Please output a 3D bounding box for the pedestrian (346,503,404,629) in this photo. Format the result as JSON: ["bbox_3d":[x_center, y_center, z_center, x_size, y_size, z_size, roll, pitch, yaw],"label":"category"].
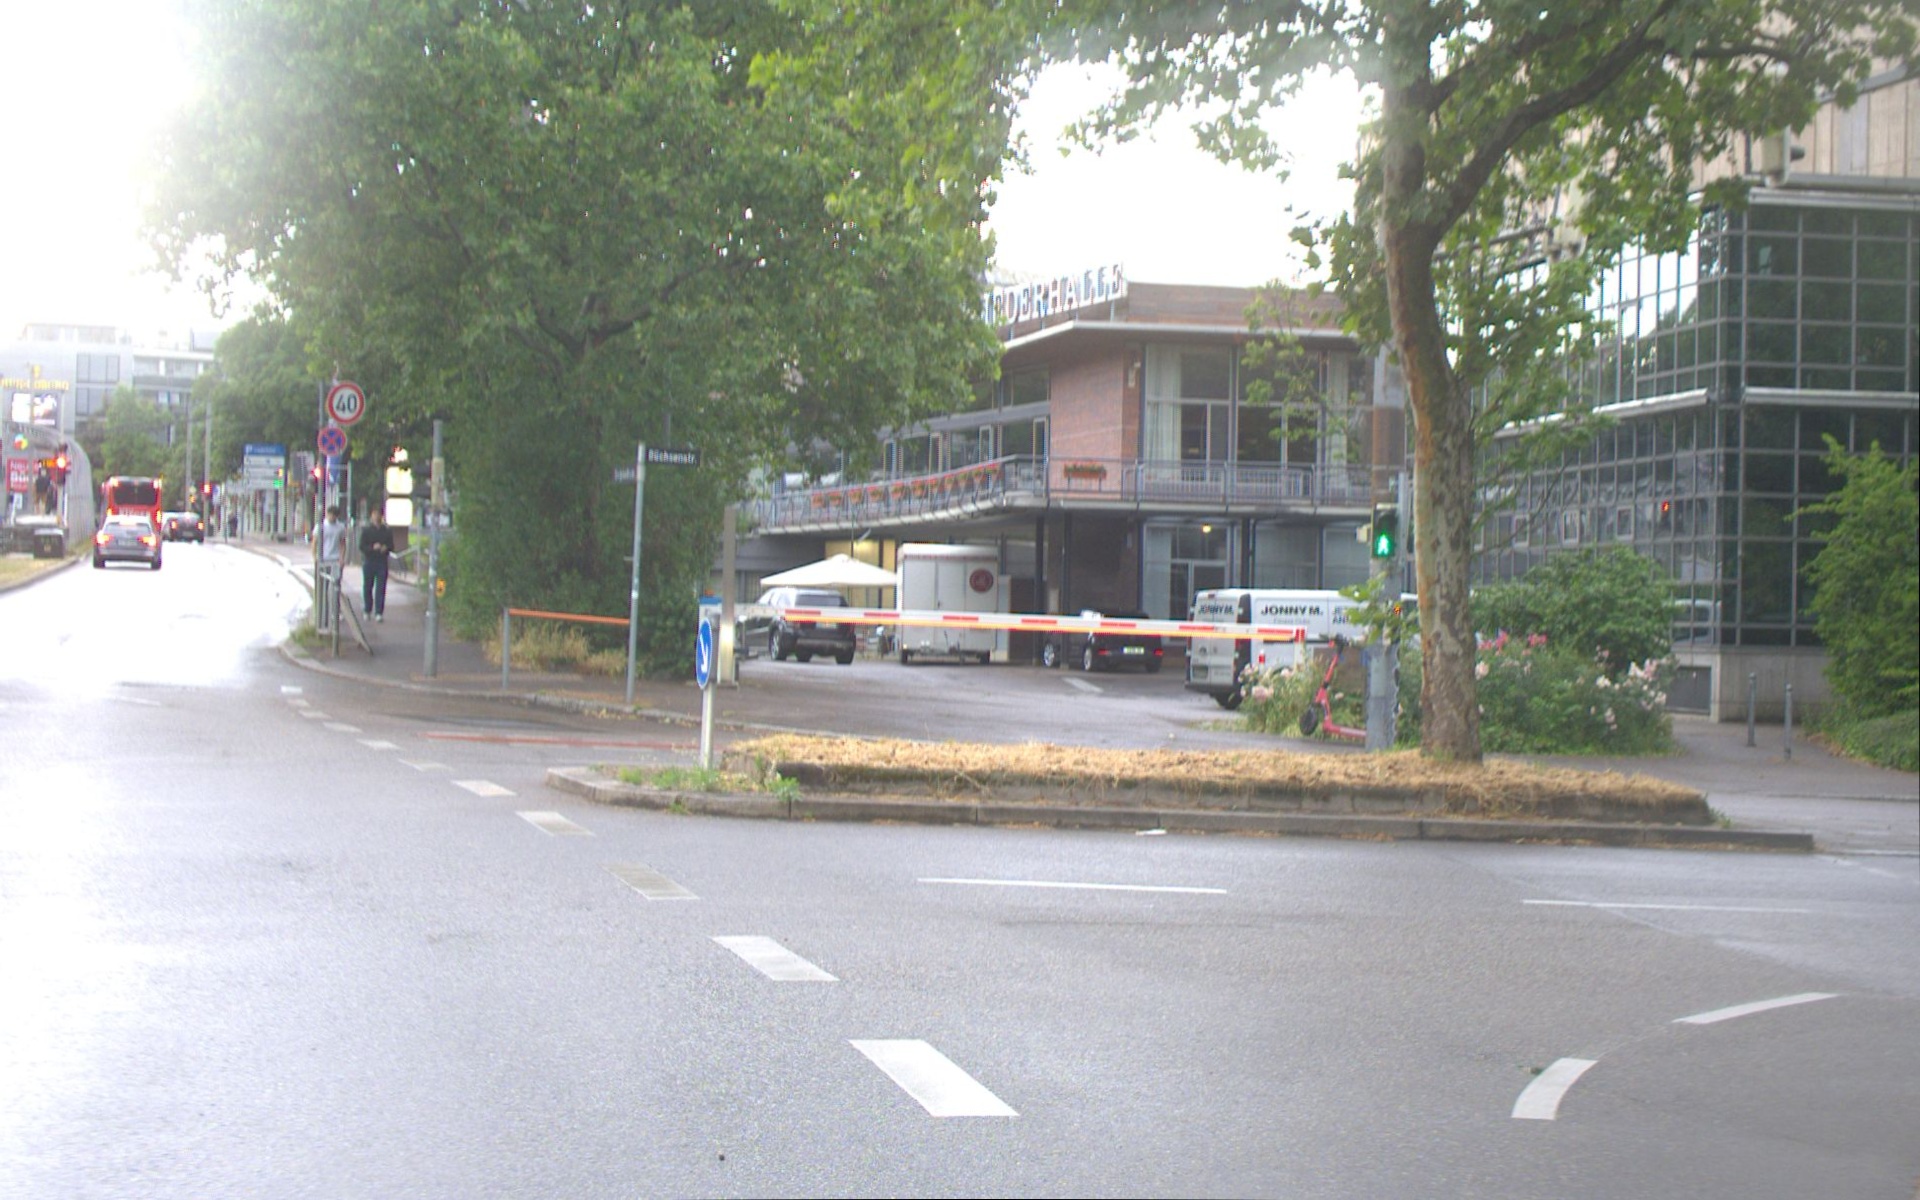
[{"bbox_3d":[-9.400,-0.553,55.269,0.874,2.007,1.077,-1,1,-8],"label":"pedestrian"}]

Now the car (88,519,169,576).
[{"bbox_3d":[-22.951,-1.462,94.986,1.993,1.514,4.352,-1,1,-11],"label":"car"}]

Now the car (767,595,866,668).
[{"bbox_3d":[-3.388,0.721,81.921,2.019,1.545,4.350,2,1,1],"label":"car"}]

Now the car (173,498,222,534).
[{"bbox_3d":[-38.894,-4.284,175.224,2.362,1.810,5.185,-1,1,-13],"label":"car"}]

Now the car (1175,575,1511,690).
[{"bbox_3d":[6.274,0.539,56.199,5.198,1.725,1.875,1,1,-25],"label":"car"}]

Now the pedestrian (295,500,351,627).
[{"bbox_3d":[-10.206,-0.586,55.107,0.814,2.007,1.077,-1,1,-8],"label":"pedestrian"}]

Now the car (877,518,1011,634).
[{"bbox_3d":[-0.465,-0.650,85.380,2.731,2.686,6.924,2,1,-5],"label":"car"}]

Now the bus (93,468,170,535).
[{"bbox_3d":[-40.986,-4.832,170.229,3.589,3.160,10.423,-1,1,-13],"label":"bus"}]

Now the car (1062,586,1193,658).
[{"bbox_3d":[4.014,0.521,83.193,2.019,1.545,4.352,1,1,-13],"label":"car"}]
